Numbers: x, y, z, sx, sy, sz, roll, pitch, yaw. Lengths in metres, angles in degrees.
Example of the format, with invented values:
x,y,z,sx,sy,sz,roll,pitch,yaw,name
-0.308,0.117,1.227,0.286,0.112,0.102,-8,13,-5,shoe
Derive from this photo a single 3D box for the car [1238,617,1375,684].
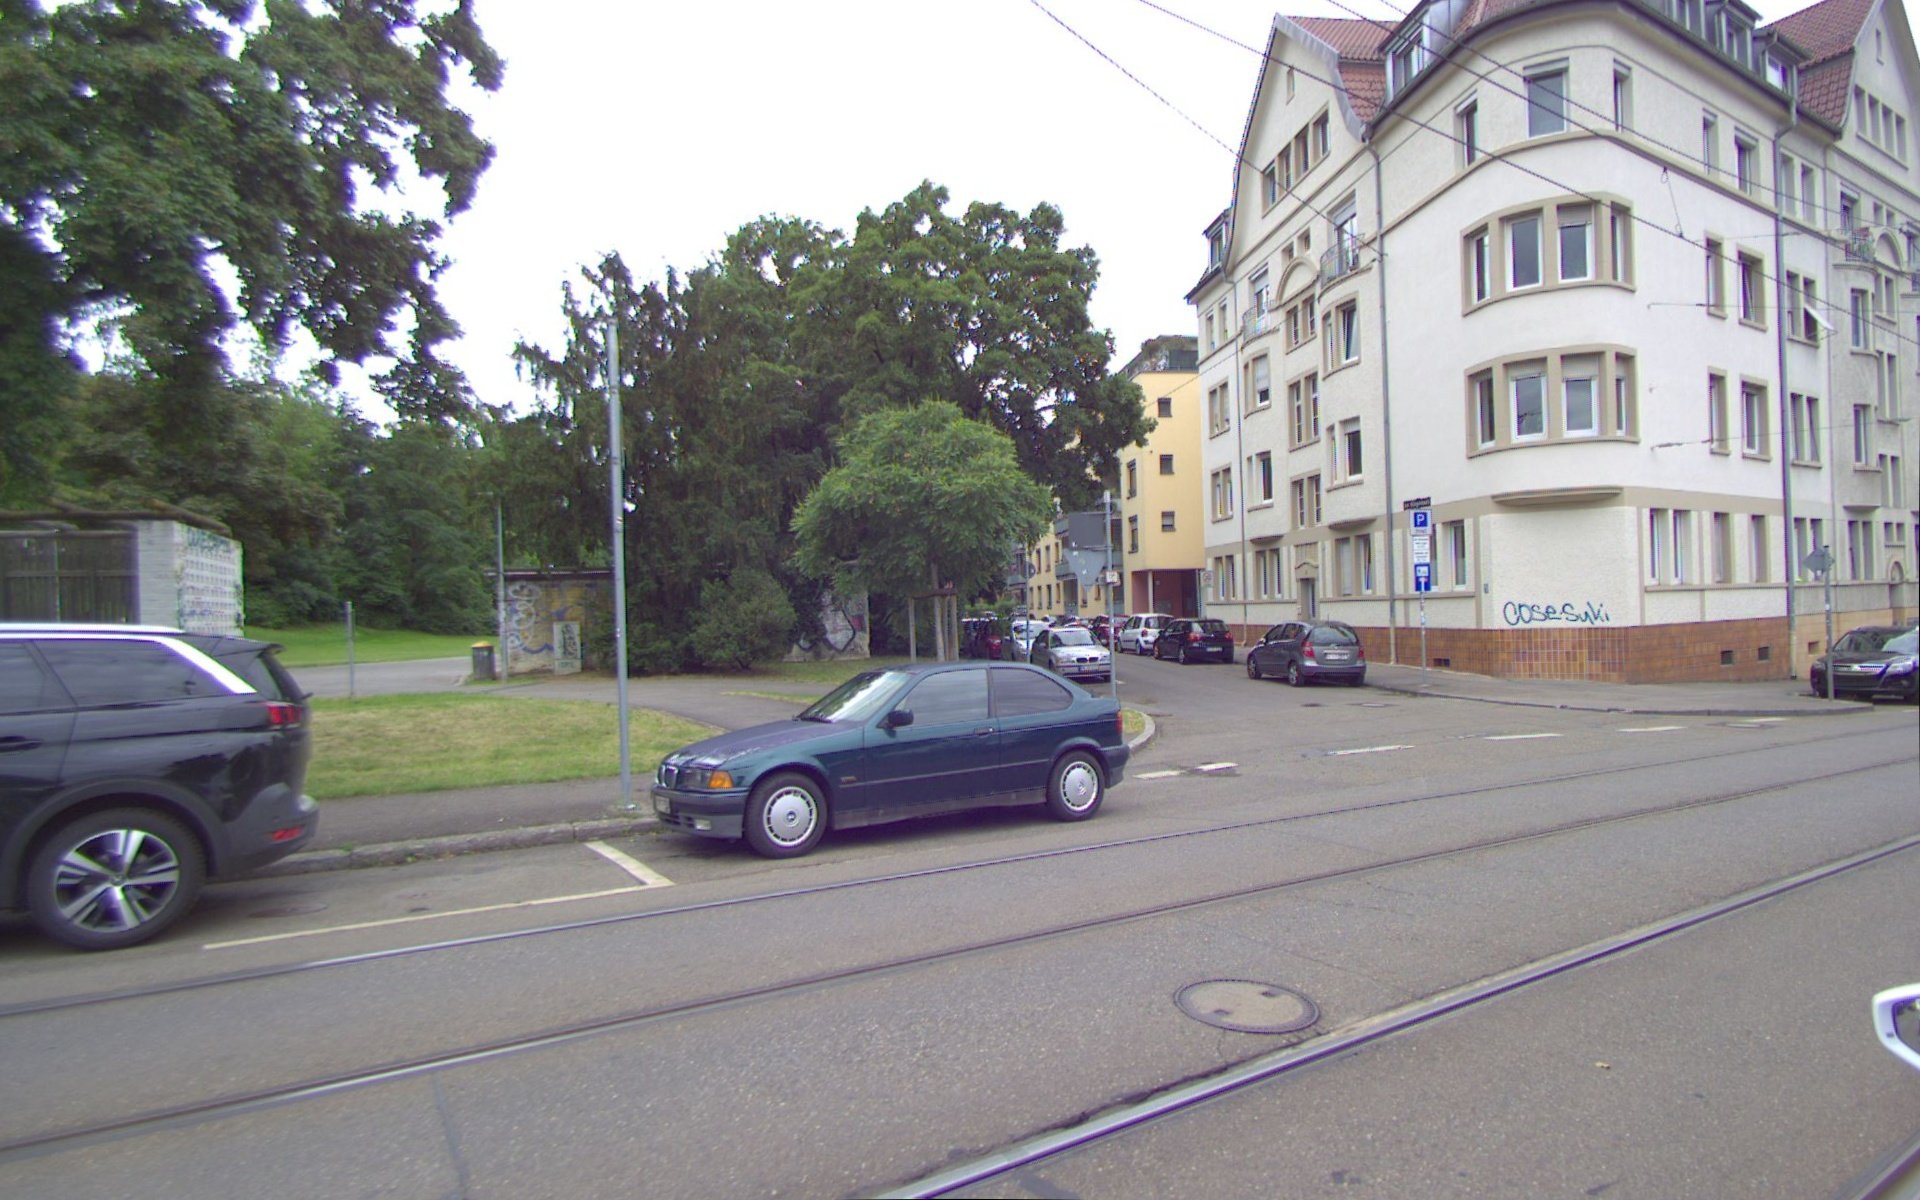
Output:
x,y,z,sx,sy,sz,roll,pitch,yaw,name
8.801,1.243,25.858,1.841,1.592,3.997,0,-1,-6,car

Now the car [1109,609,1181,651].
x,y,z,sx,sy,sz,roll,pitch,yaw,name
7.198,1.171,39.458,1.728,1.564,3.997,0,-1,-6,car

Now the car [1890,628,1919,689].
x,y,z,sx,sy,sz,roll,pitch,yaw,name
25.043,1.475,25.263,3.706,1.482,1.611,2,-3,-34,car

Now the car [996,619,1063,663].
x,y,z,sx,sy,sz,roll,pitch,yaw,name
2.364,1.403,35.080,1.727,1.438,3.997,0,-1,-6,car

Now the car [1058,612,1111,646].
x,y,z,sx,sy,sz,roll,pitch,yaw,name
6.044,1.414,49.216,1.728,1.564,3.997,0,-1,-6,car

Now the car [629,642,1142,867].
x,y,z,sx,sy,sz,roll,pitch,yaw,name
-0.509,1.122,8.547,4.113,1.497,1.611,2,-3,-34,car

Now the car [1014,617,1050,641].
x,y,z,sx,sy,sz,roll,pitch,yaw,name
4.685,1.889,65.775,1.728,1.564,3.997,0,-1,-6,car

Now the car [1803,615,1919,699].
x,y,z,sx,sy,sz,roll,pitch,yaw,name
20.353,1.227,21.925,4.356,1.667,1.856,2,-3,-34,car

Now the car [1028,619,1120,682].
x,y,z,sx,sy,sz,roll,pitch,yaw,name
3.061,1.326,27.702,1.727,1.459,3.996,-1,1,-6,car

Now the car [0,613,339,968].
x,y,z,sx,sy,sz,roll,pitch,yaw,name
-5.847,0.921,5.203,4.398,1.708,1.957,2,-3,-34,car

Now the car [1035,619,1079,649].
x,y,z,sx,sy,sz,roll,pitch,yaw,name
5.296,1.846,55.275,1.728,1.564,3.997,0,-1,-6,car

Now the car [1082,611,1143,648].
x,y,z,sx,sy,sz,roll,pitch,yaw,name
6.652,1.287,44.149,1.728,1.564,3.997,0,-1,-6,car

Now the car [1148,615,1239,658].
x,y,z,sx,sy,sz,roll,pitch,yaw,name
7.827,1.205,34.053,1.841,1.372,3.997,0,-1,-6,car
